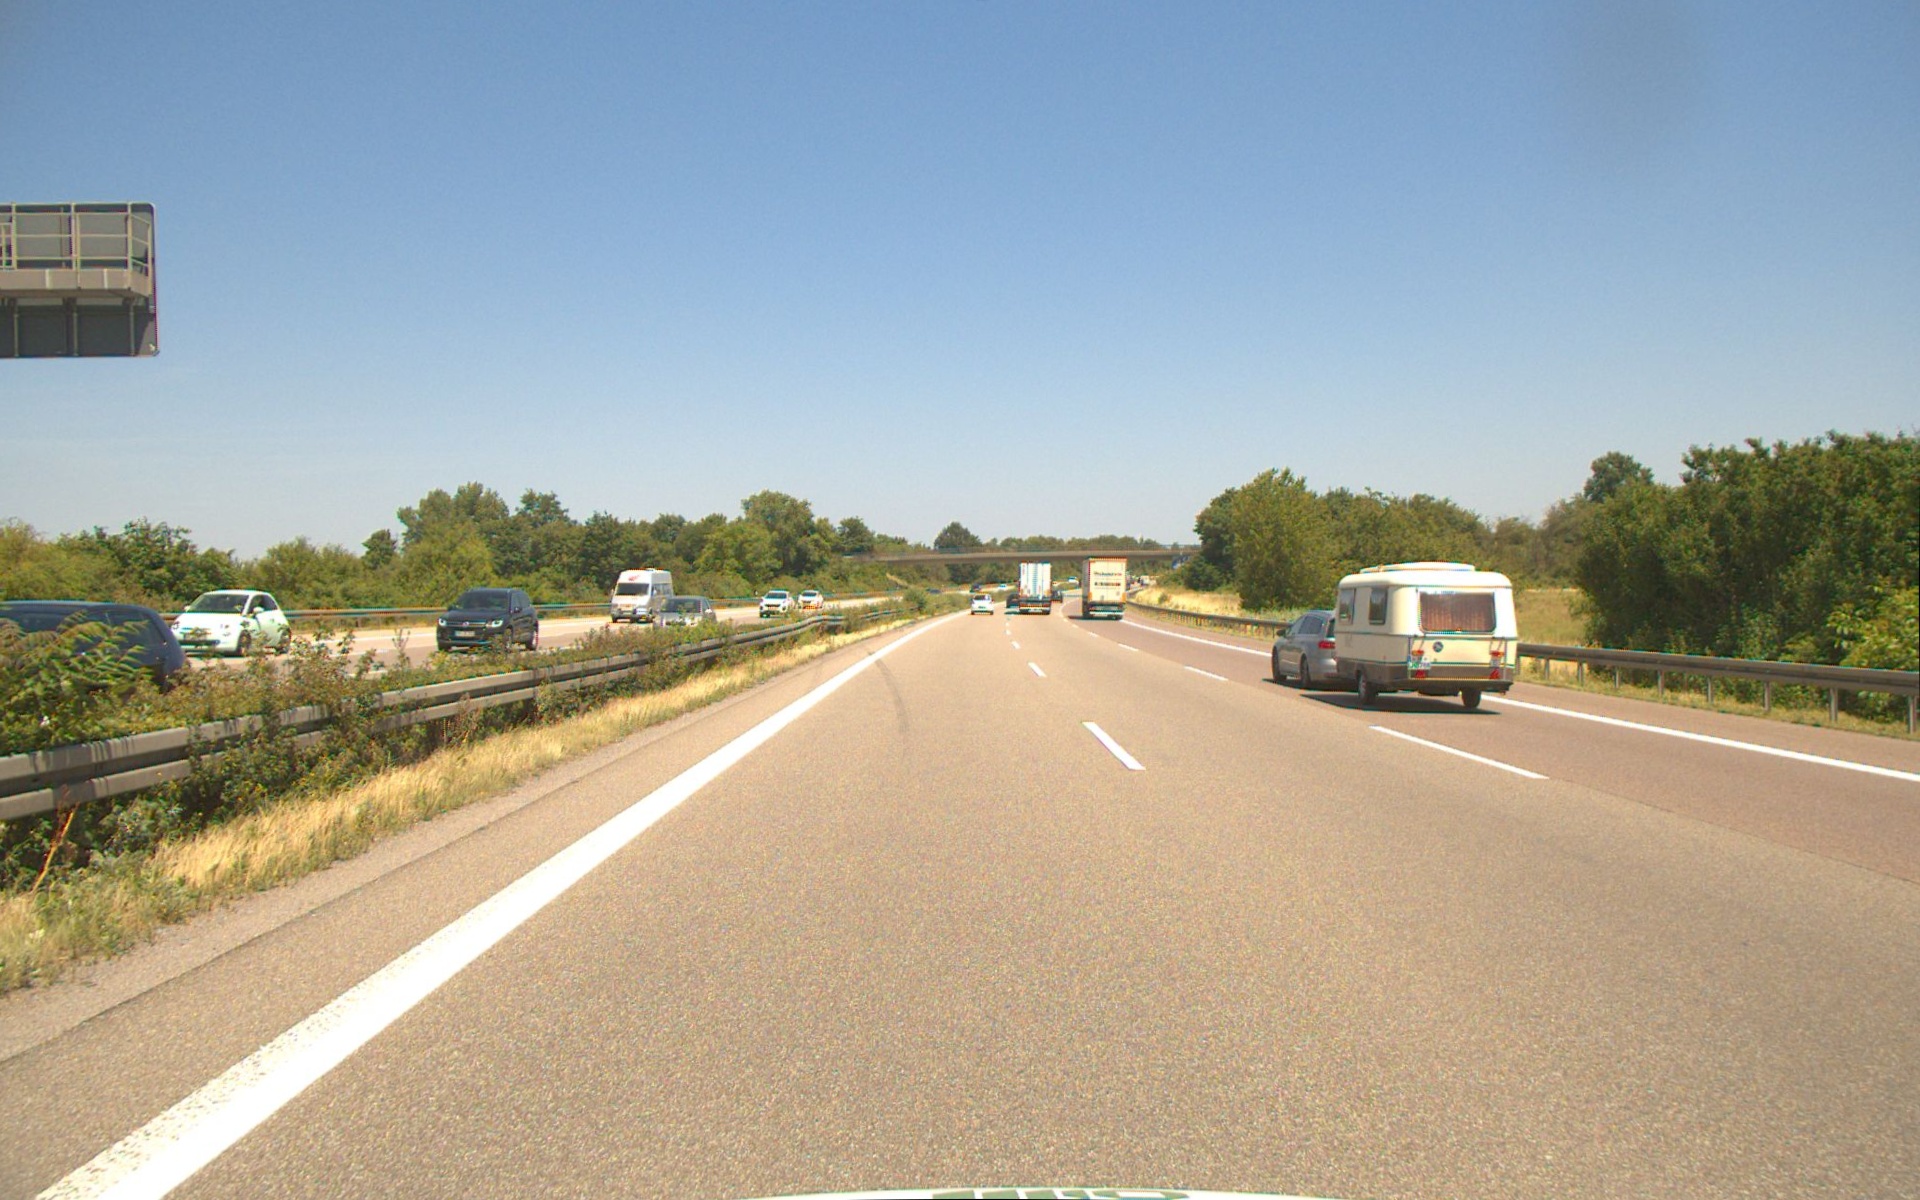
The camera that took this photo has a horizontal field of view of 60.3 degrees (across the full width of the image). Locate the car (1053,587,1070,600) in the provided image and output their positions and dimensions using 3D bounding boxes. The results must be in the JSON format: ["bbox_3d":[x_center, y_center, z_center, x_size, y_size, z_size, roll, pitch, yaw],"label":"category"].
[{"bbox_3d":[12.928,-0.825,211.193,1.789,1.574,4.323,1,1,8],"label":"car"}]

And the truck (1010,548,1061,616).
[{"bbox_3d":[6.265,-1.523,134.116,3.589,5.105,16.027,1,1,4],"label":"truck"}]

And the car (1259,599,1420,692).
[{"bbox_3d":[7.212,0.802,31.993,1.848,1.542,5.380,1,1,0],"label":"car"}]

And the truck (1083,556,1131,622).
[{"bbox_3d":[10.508,-0.901,118.741,3.114,4.379,16.028,1,1,5],"label":"truck"}]

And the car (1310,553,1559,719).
[{"bbox_3d":[7.397,0.447,26.463,2.392,2.362,5.321,-1,2,-1],"label":"car"}]

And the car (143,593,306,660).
[{"bbox_3d":[-17.130,0.590,38.745,1.952,1.483,4.088,0,0,0],"label":"car"}]

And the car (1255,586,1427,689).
[{"bbox_3d":[7.236,0.643,32.016,2.003,1.687,5.510,0,2,-1],"label":"car"}]

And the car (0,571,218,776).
[{"bbox_3d":[-9.090,0.611,15.773,1.953,1.727,4.606,0,0,-1],"label":"car"}]

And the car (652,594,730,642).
[{"bbox_3d":[-8.857,0.571,54.695,1.710,1.492,4.251,0,0,2],"label":"car"}]

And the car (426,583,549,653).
[{"bbox_3d":[-12.463,0.454,43.951,1.953,1.727,4.606,0,0,-1],"label":"car"}]

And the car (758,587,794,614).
[{"bbox_3d":[-11.756,0.031,106.060,1.751,1.710,4.901,0,0,0],"label":"car"}]

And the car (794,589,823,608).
[{"bbox_3d":[-13.277,-0.152,145.489,1.710,1.567,4.830,2,1,4],"label":"car"}]

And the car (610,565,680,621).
[{"bbox_3d":[-16.085,-0.346,84.871,1.952,2.733,7.184,0,0,2],"label":"car"}]

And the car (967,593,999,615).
[{"bbox_3d":[1.723,0.269,123.573,1.789,1.574,4.323,1,1,8],"label":"car"}]
